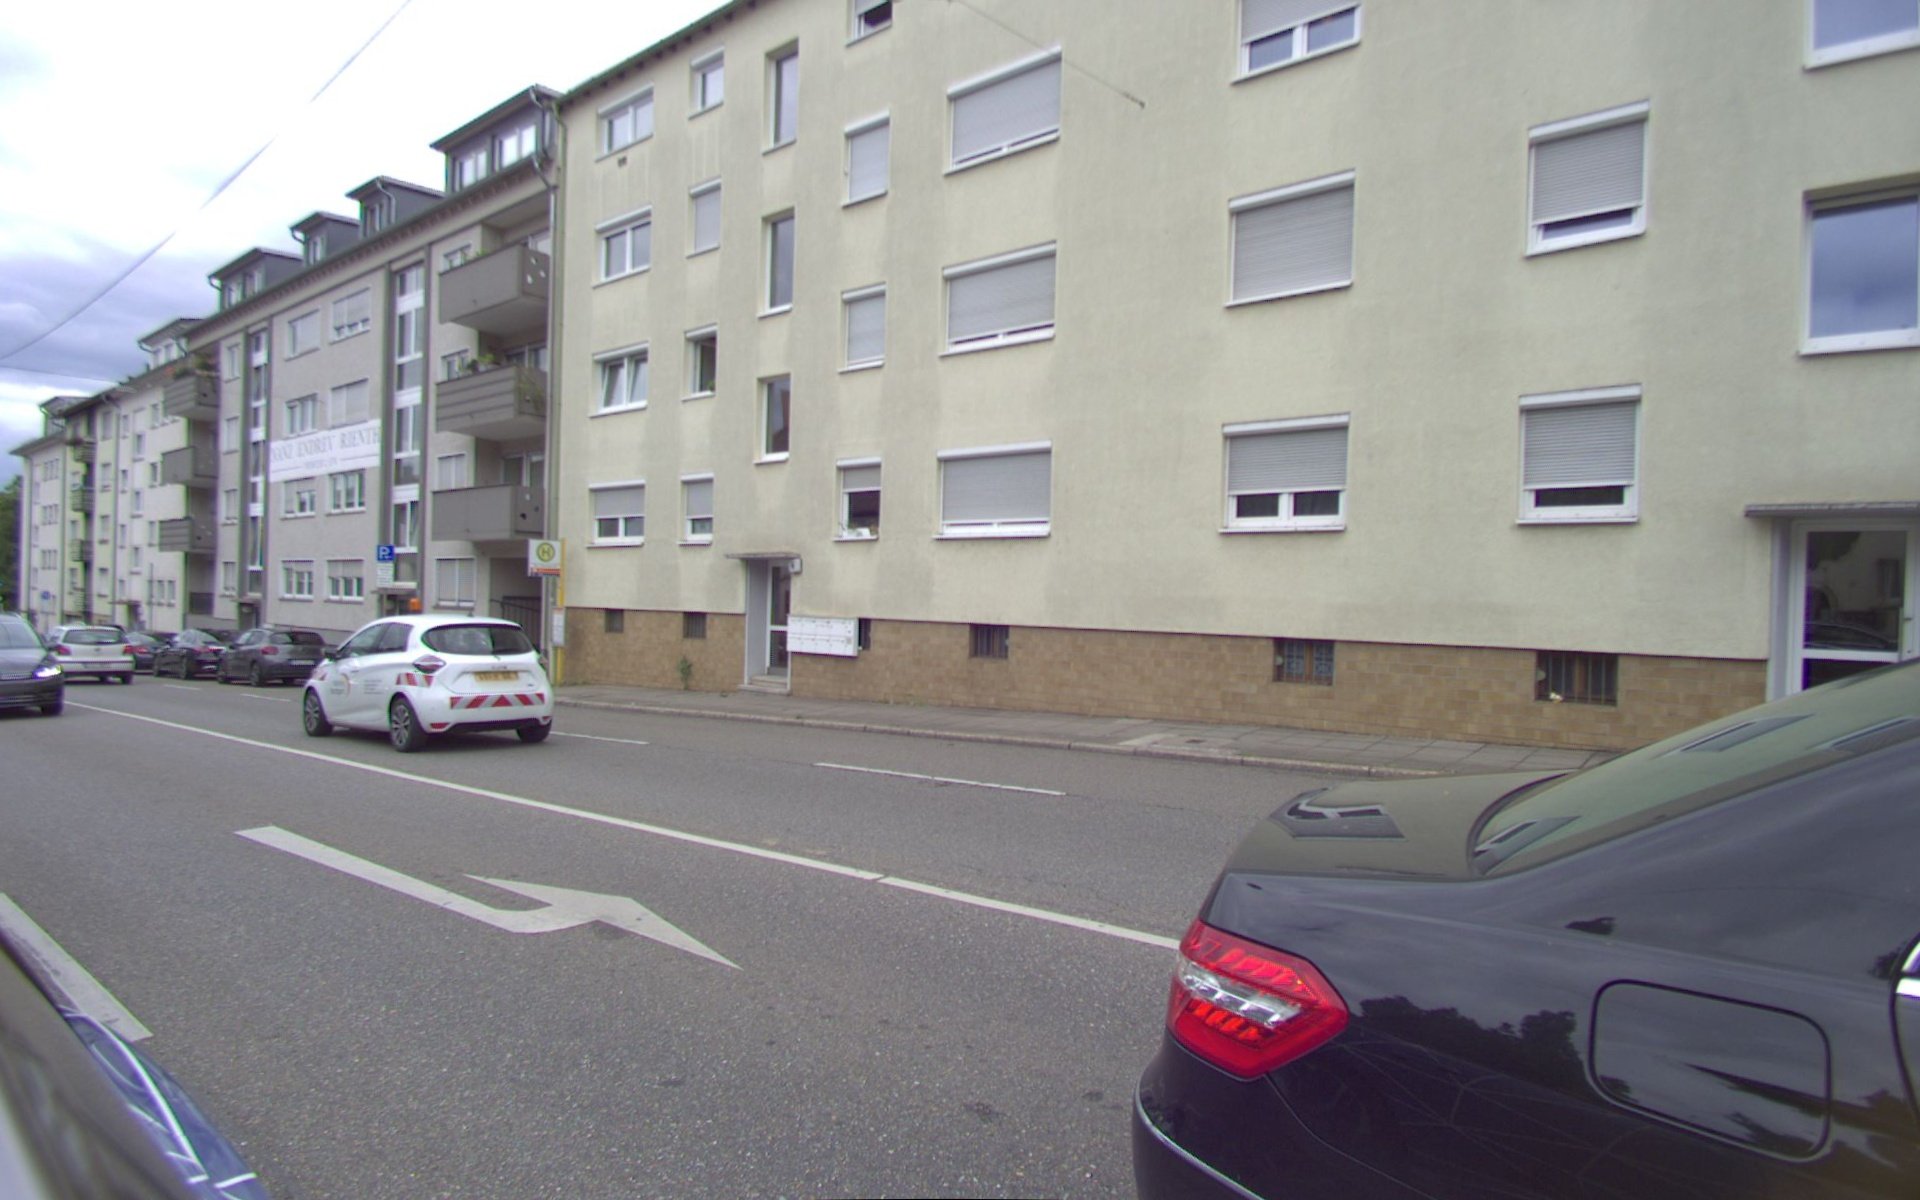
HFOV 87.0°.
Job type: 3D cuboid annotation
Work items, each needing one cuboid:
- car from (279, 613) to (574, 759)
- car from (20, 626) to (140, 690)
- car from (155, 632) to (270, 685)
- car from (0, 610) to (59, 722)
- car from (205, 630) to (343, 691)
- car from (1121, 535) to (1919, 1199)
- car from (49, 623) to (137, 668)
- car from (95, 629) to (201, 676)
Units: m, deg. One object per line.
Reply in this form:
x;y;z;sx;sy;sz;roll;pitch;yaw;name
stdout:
-6.727;0.946;12.606;4.078;1.533;1.753;-1;-2;39;car
-22.381;1.416;25.707;3.593;1.494;1.573;-1;-2;37;car
-21.451;1.649;29.014;3.533;1.386;1.649;-1;-3;36;car
-15.939;0.993;15.962;4.474;1.623;1.840;-1;0;38;car
-17.589;1.514;25.927;3.680;1.422;1.755;-1;-3;36;car
2.708;0.650;0.709;4.840;1.440;1.973;-1;-2;41;car
-33.137;1.723;38.661;3.533;1.613;1.755;-1;-3;36;car
-26.238;1.674;32.681;3.533;1.414;1.755;-1;-3;36;car
